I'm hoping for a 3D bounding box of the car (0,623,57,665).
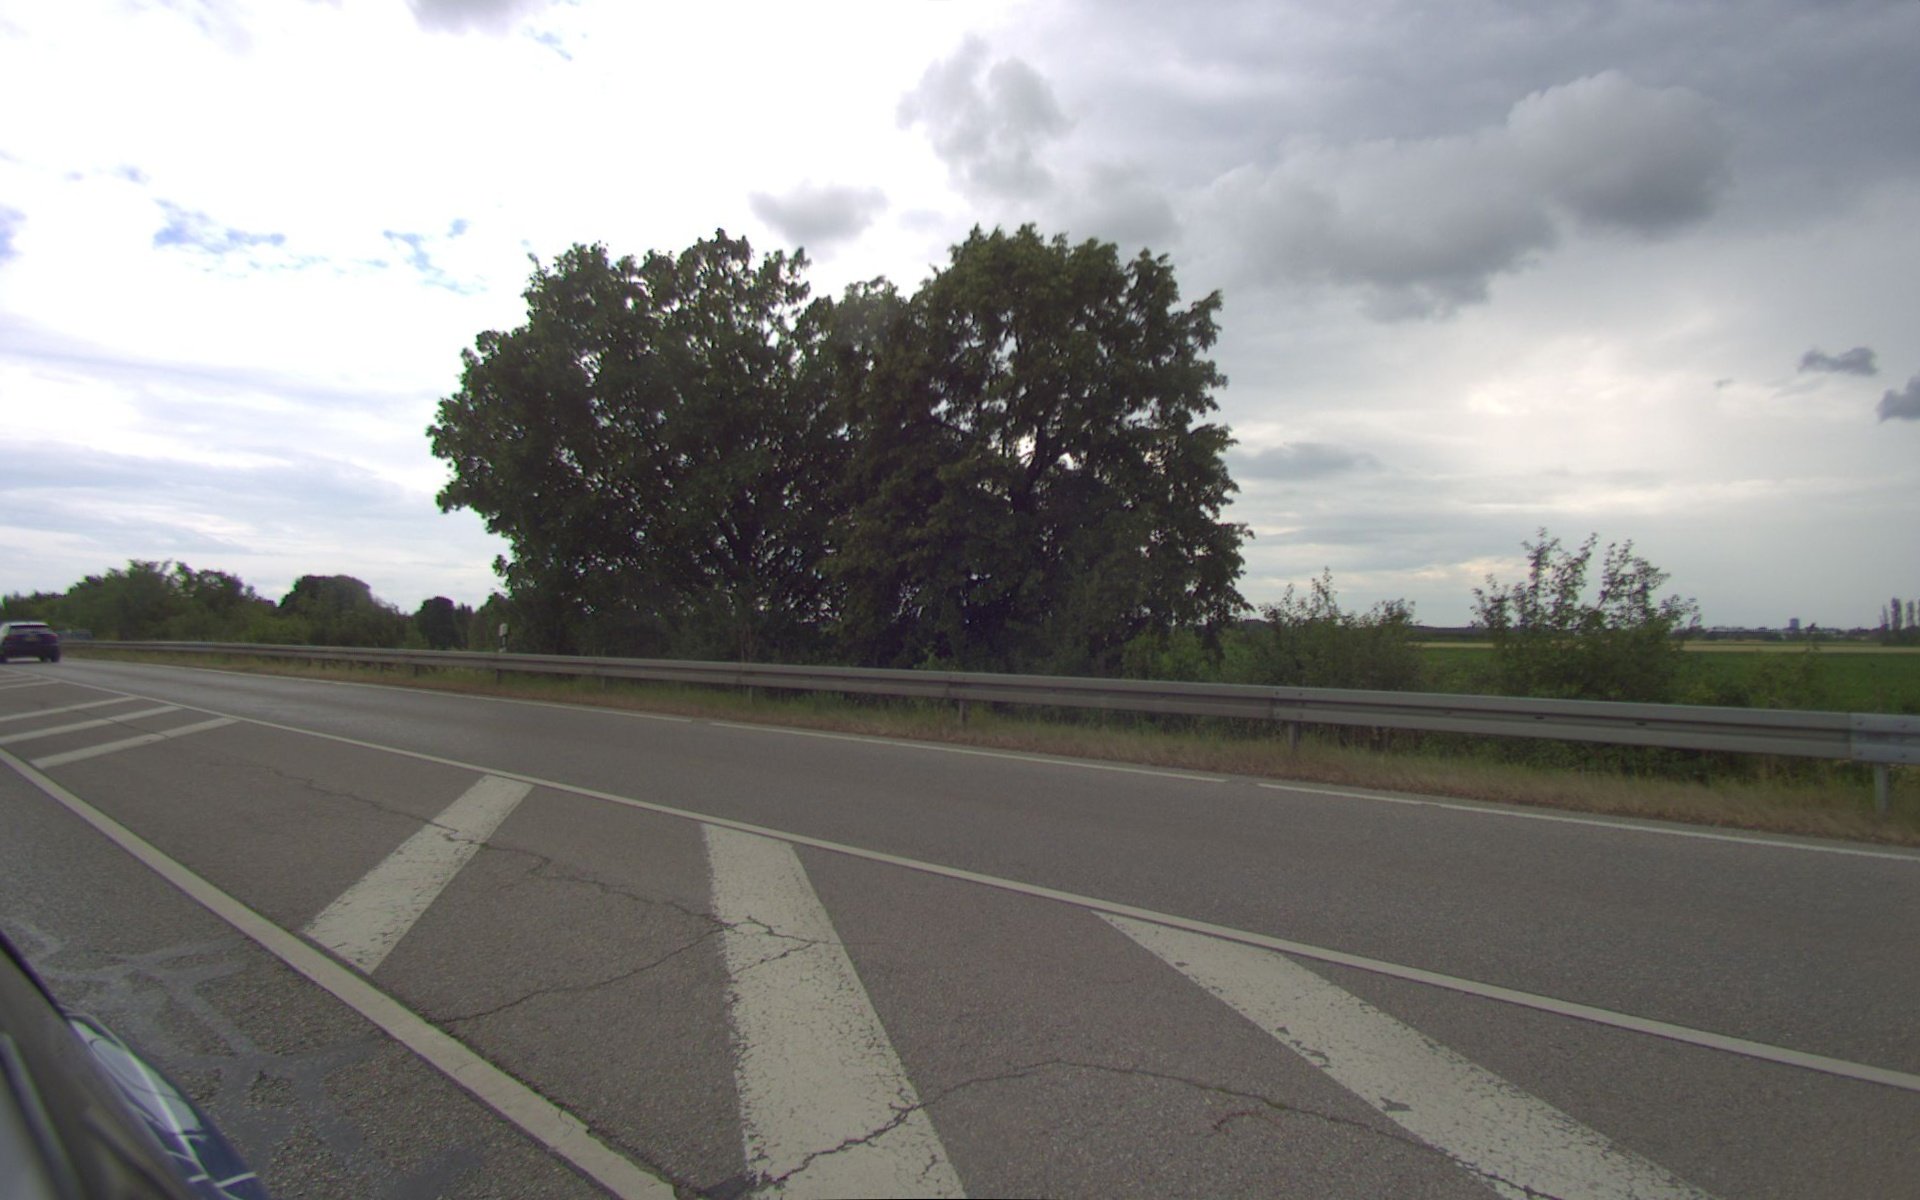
[{"bbox_3d":[-37.112,1.721,39.963,4.208,1.530,1.692,-2,-1,42],"label":"car"}]
